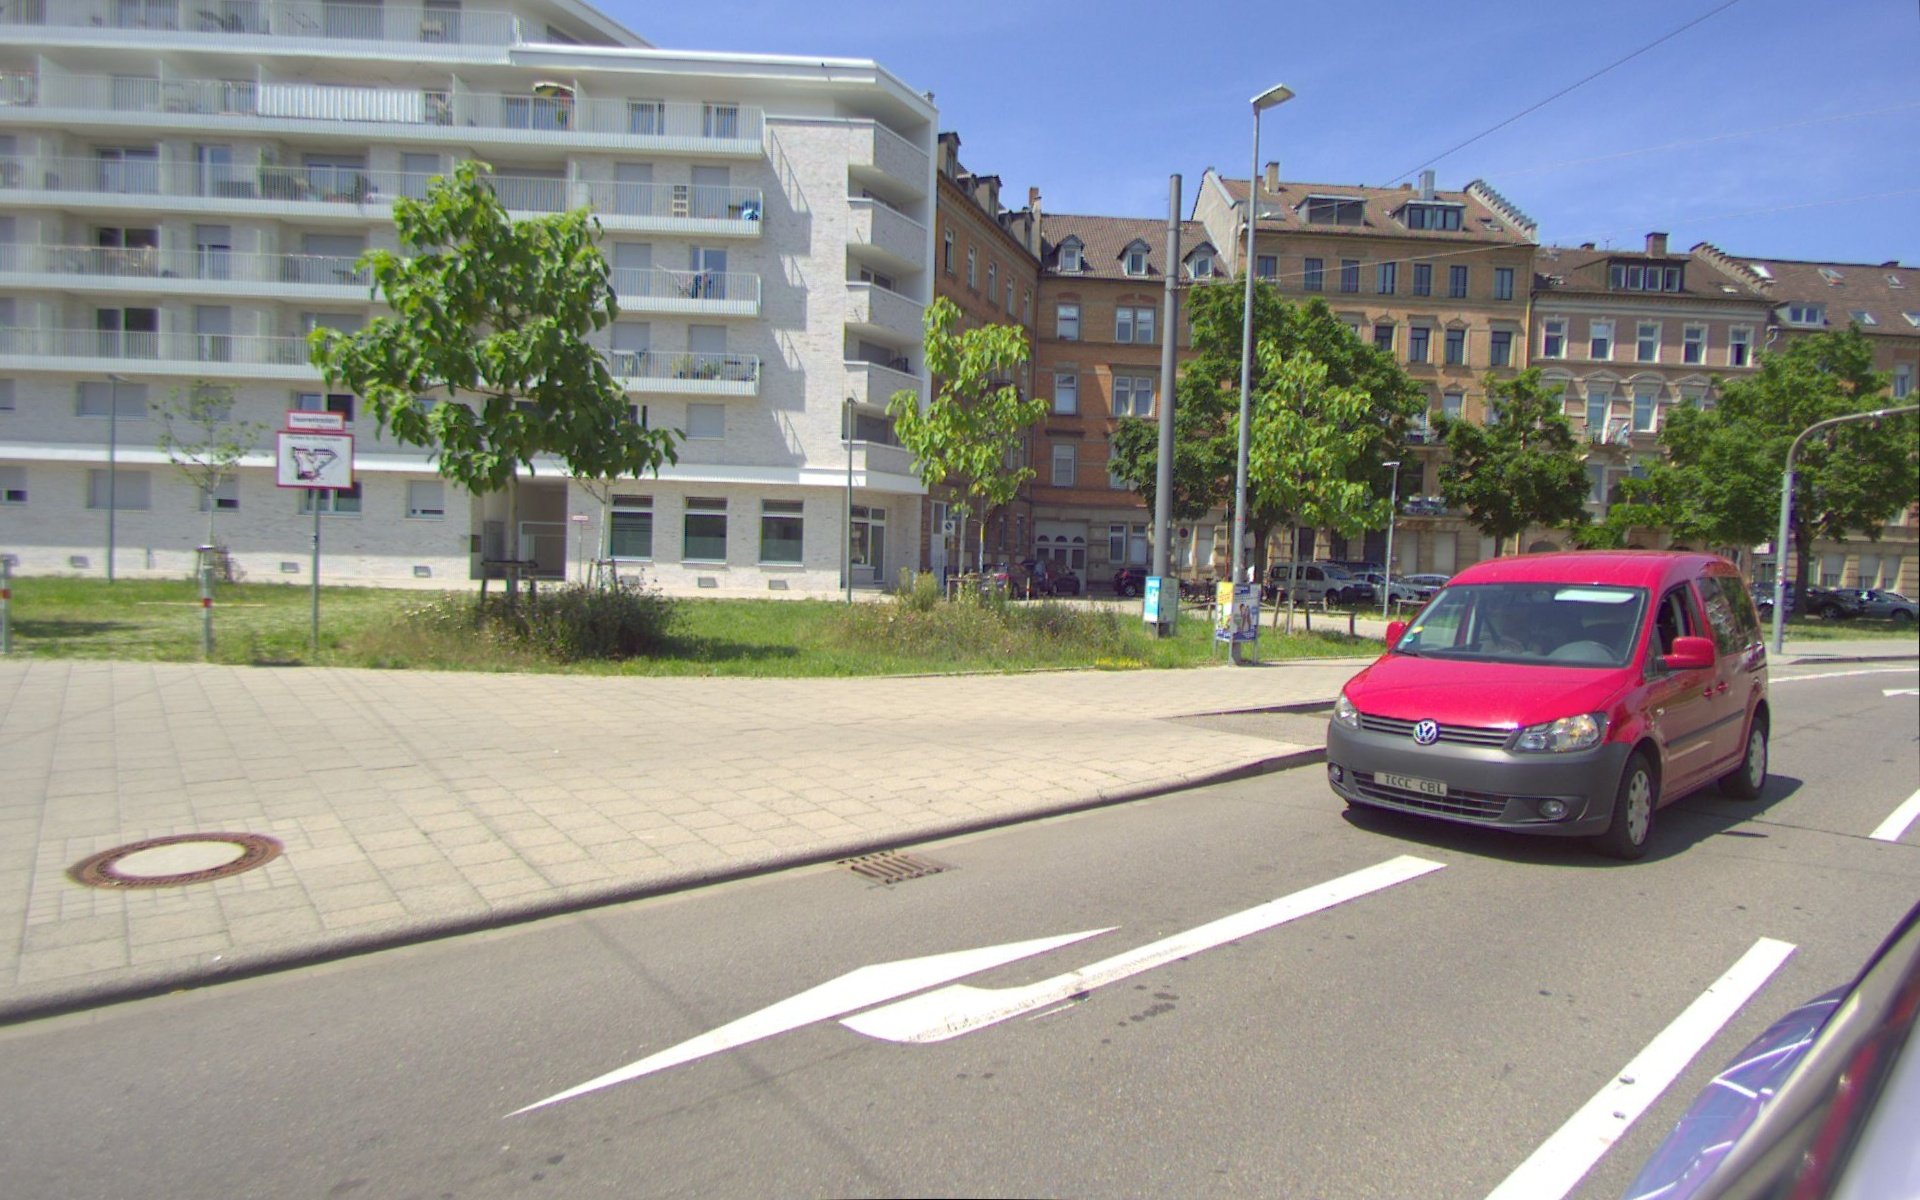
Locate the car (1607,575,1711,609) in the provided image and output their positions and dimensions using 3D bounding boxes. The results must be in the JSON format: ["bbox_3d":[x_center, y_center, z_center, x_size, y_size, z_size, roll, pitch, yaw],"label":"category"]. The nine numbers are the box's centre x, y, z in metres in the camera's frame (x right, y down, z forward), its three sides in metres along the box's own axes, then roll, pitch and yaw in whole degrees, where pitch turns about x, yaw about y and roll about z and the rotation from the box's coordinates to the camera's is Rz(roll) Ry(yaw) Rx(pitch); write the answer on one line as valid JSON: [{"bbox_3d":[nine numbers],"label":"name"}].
[{"bbox_3d":[34.678,-0.406,50.281,3.921,1.549,1.844,1,1,-4],"label":"car"}]

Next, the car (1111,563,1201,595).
[{"bbox_3d":[9.429,-1.015,48.842,3.921,1.438,1.779,2,1,-3],"label":"car"}]

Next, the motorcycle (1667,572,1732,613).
[{"bbox_3d":[27.413,-0.280,37.534,1.821,1.430,0.678,2,2,0],"label":"motorcycle"}]

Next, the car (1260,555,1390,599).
[{"bbox_3d":[14.471,-0.917,40.448,1.799,1.621,4.881,1,1,-29],"label":"car"}]

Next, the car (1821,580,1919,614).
[{"bbox_3d":[38.145,-0.111,41.374,1.931,1.330,4.008,1,1,-24],"label":"car"}]

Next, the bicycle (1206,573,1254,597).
[{"bbox_3d":[10.941,-0.632,41.098,0.498,0.947,2.052,1,1,-32],"label":"bicycle"}]

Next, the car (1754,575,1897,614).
[{"bbox_3d":[35.585,-0.251,41.724,1.762,1.488,4.098,1,1,-29],"label":"car"}]

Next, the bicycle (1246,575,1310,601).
[{"bbox_3d":[12.569,-0.487,40.054,0.500,0.947,2.421,1,1,-45],"label":"bicycle"}]

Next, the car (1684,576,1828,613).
[{"bbox_3d":[32.323,-0.257,41.237,1.550,1.393,4.355,1,1,-28],"label":"car"}]

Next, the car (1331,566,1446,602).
[{"bbox_3d":[17.178,-0.669,40.746,1.723,1.349,4.006,1,1,-29],"label":"car"}]

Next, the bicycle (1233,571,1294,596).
[{"bbox_3d":[12.330,-0.688,41.221,0.500,0.947,2.421,0,2,-45],"label":"bicycle"}]

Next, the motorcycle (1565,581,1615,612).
[{"bbox_3d":[23.806,-0.135,38.283,0.517,1.134,1.831,1,1,-9],"label":"motorcycle"}]

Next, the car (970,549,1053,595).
[{"bbox_3d":[2.046,-1.066,39.134,1.679,1.645,4.091,2,1,27],"label":"car"}]

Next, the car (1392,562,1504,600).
[{"bbox_3d":[19.785,-0.774,41.173,1.575,1.450,3.873,1,1,-31],"label":"car"}]

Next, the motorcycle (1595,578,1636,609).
[{"bbox_3d":[24.817,-0.243,38.350,0.468,1.134,1.526,1,1,-3],"label":"motorcycle"}]

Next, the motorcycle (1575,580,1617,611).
[{"bbox_3d":[26.578,-0.192,42.344,0.800,1.251,2.077,2,1,13],"label":"motorcycle"}]

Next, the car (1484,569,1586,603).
[{"bbox_3d":[28.426,-0.702,50.140,3.924,1.549,1.842,2,1,0],"label":"car"}]

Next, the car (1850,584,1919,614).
[{"bbox_3d":[46.767,-0.027,50.191,3.643,1.438,1.786,2,1,-3],"label":"car"}]

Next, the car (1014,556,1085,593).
[{"bbox_3d":[4.049,-1.106,45.108,1.760,1.548,4.044,2,1,27],"label":"car"}]

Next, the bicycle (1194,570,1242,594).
[{"bbox_3d":[10.389,-0.740,40.828,0.498,0.947,2.052,1,1,-32],"label":"bicycle"}]

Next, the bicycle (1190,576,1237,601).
[{"bbox_3d":[10.049,-0.481,40.185,0.498,0.947,2.052,1,1,-32],"label":"bicycle"}]

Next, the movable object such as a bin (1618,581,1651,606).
[{"bbox_3d":[26.665,-0.265,40.024,0.690,0.949,0.986,2,1,9],"label":"movable object such as a bin"}]

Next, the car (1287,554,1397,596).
[{"bbox_3d":[18.629,-1.210,49.498,4.564,1.927,1.927,2,1,-1],"label":"car"}]

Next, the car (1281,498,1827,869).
[{"bbox_3d":[4.608,0.418,7.424,5.074,1.857,1.859,1,1,-40],"label":"car"}]
